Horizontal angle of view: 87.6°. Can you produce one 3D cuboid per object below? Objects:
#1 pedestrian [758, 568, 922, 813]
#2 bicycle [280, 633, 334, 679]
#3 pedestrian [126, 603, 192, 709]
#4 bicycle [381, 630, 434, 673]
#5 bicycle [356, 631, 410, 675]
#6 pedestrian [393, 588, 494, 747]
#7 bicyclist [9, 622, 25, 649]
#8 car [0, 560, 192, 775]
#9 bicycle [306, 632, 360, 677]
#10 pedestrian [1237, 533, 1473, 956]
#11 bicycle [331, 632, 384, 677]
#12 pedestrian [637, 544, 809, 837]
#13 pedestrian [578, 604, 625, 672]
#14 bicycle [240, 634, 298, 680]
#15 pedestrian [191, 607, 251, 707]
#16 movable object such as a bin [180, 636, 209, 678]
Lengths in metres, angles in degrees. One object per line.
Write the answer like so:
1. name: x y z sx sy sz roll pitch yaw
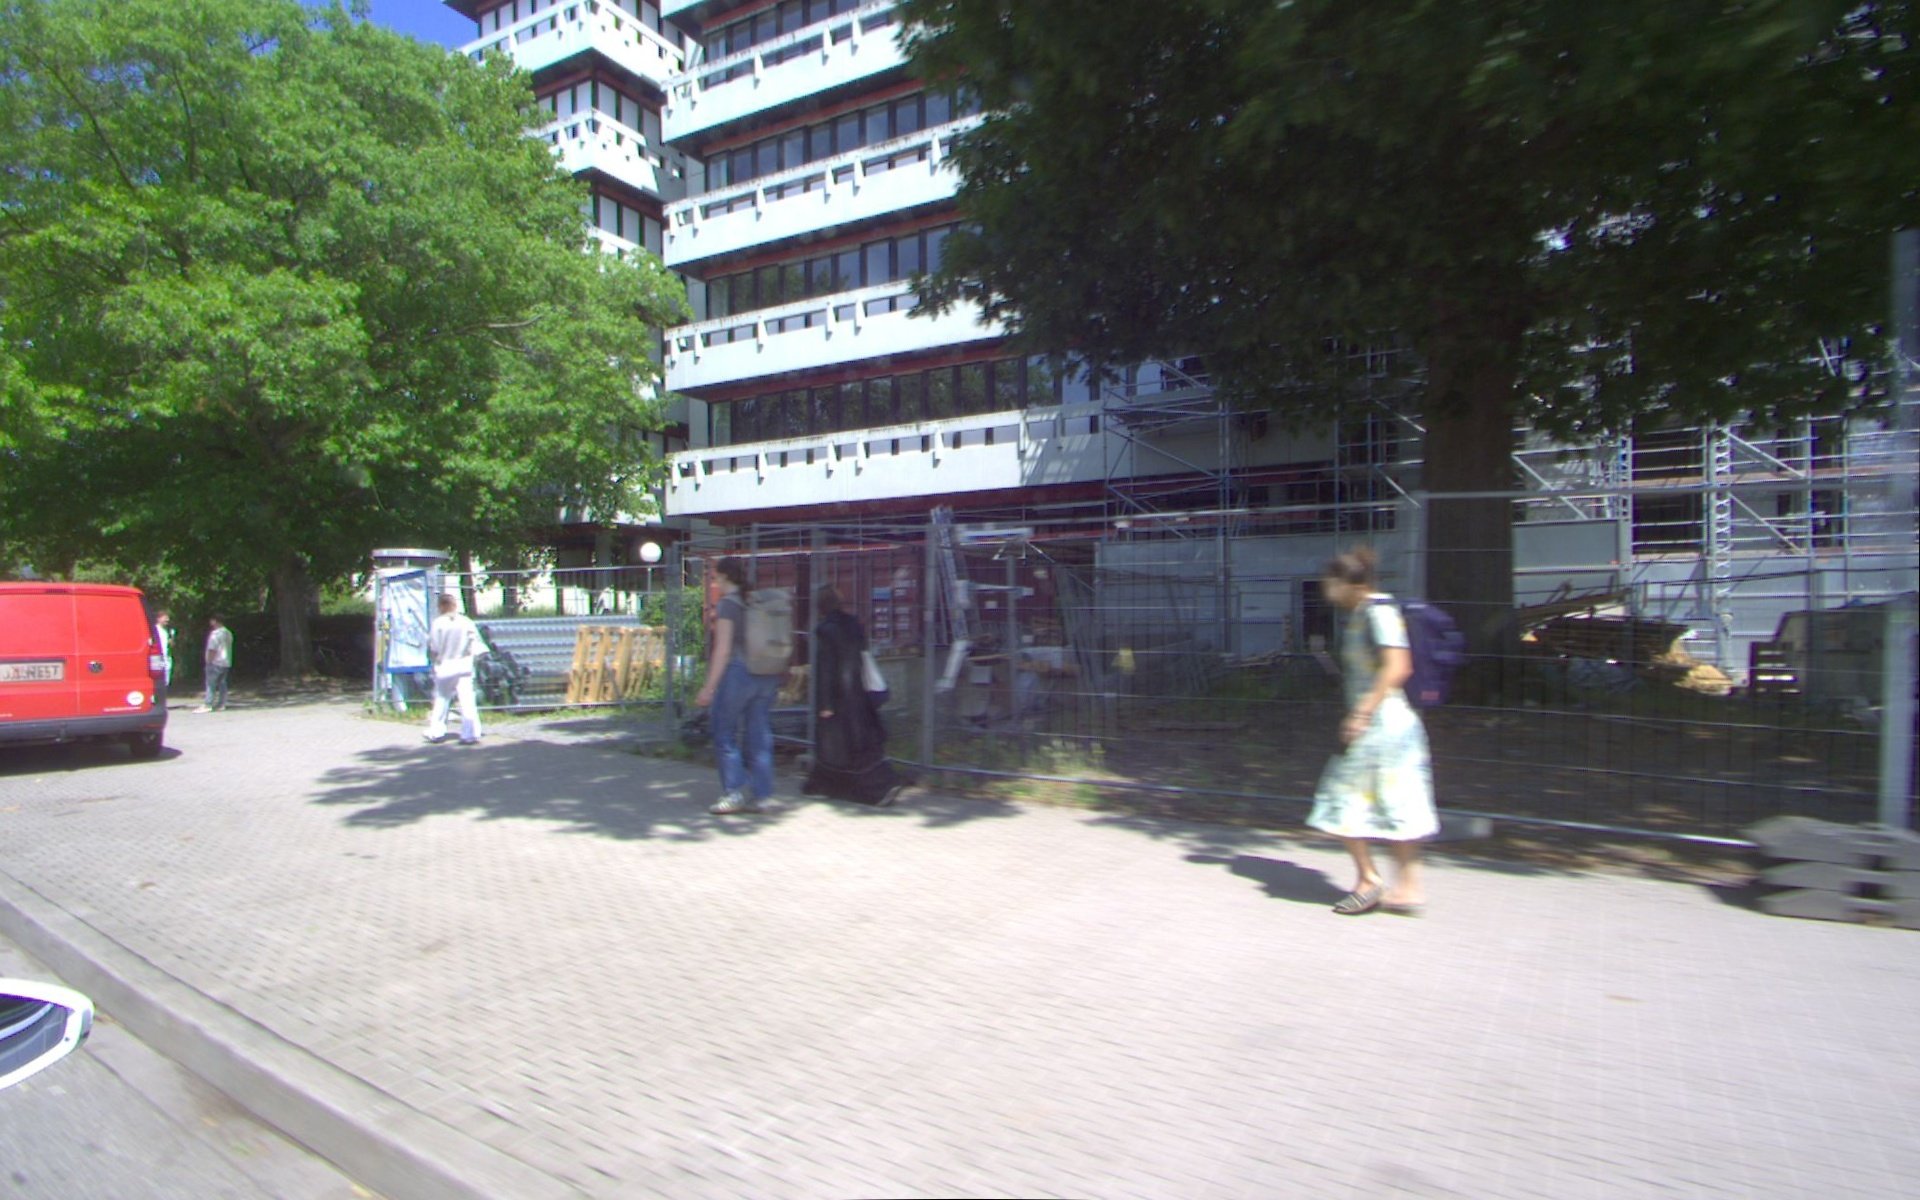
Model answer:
1. pedestrian: -0.862 0.610 7.197 0.973 1.621 0.666 -1 0 38
2. bicycle: -16.698 1.414 25.586 1.847 1.133 0.497 -1 -1 35
3. pedestrian: -14.250 0.981 17.835 0.618 1.845 0.723 -1 0 -6
4. bicycle: -15.026 1.393 27.210 1.847 1.133 0.497 -1 -1 35
5. bicycle: -15.357 1.407 26.633 1.914 1.133 0.497 -1 -1 35
6. pedestrian: -5.595 0.710 10.867 0.701 1.653 0.711 -1 0 32
7. bicyclist: -46.266 1.756 49.112 0.518 1.312 0.606 0 -1 -40
8. car: -10.103 0.643 10.818 4.832 1.916 1.840 -1 0 40
9. bicycle: -16.224 1.398 25.891 1.910 1.133 0.497 -1 -1 35
10. pedestrian: 1.780 0.585 4.494 0.891 1.688 0.648 -1 0 30
11. bicycle: -15.811 1.417 26.252 1.847 1.133 0.497 -1 -1 35
12. pedestrian: -1.563 0.558 6.658 0.706 1.787 0.848 -1 0 33
13. pedestrian: -8.904 0.941 24.895 0.712 1.656 0.828 -1 0 28
14. bicycle: -17.602 1.436 25.492 1.847 1.133 0.617 -1 -1 35
15. pedestrian: -13.196 1.002 17.898 0.553 1.732 0.745 -1 0 -6
16. movable object such as a bin: -20.342 1.514 26.614 0.498 1.086 0.487 -1 -1 37
